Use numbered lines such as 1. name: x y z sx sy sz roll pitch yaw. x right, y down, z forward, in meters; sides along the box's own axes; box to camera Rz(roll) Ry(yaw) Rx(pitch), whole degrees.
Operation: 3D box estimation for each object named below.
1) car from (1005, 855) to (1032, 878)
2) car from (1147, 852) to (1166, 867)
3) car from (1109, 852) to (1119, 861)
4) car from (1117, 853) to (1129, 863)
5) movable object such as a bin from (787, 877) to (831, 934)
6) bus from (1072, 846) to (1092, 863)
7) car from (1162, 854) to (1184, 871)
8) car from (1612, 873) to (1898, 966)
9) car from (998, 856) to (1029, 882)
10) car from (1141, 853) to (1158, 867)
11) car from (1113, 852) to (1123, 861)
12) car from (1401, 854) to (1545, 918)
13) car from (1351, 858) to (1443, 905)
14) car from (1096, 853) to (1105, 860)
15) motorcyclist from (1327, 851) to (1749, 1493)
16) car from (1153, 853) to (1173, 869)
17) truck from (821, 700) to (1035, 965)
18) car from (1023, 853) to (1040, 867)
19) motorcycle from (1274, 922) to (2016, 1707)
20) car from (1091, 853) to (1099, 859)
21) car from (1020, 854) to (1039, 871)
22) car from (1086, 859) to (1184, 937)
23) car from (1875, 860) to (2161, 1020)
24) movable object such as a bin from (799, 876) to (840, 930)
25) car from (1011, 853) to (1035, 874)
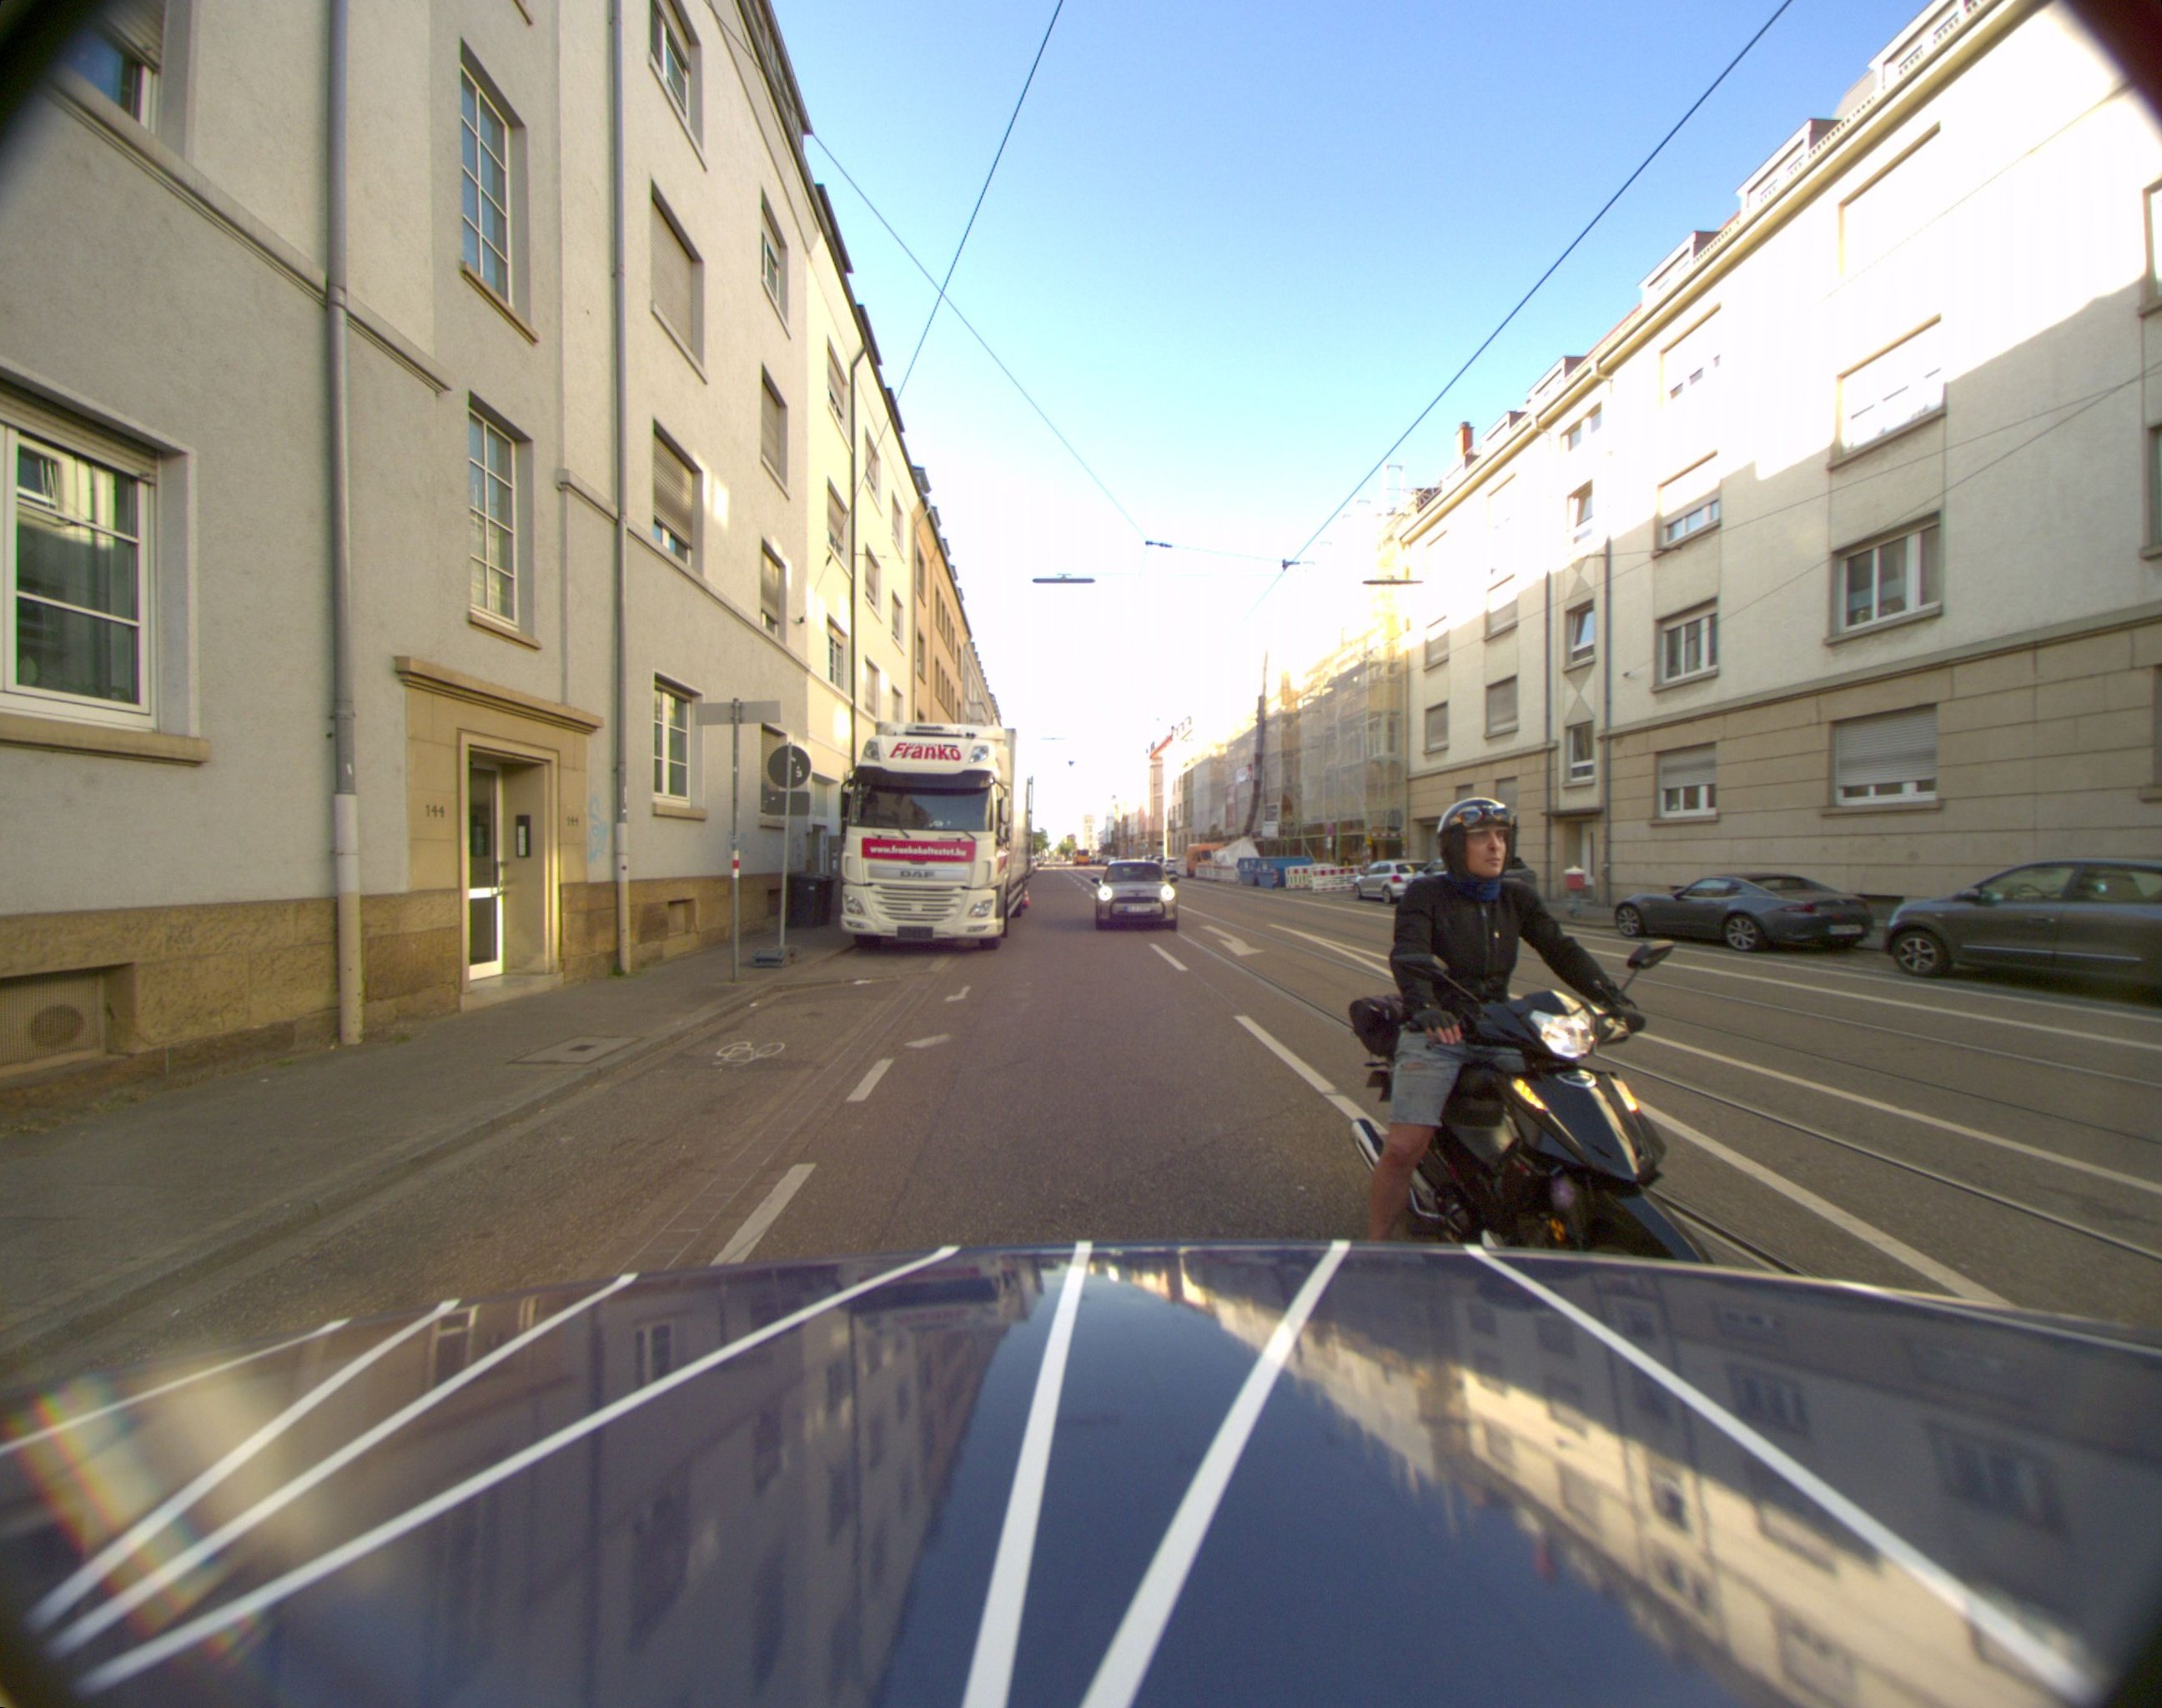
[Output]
1. car: -4.301 0.828 52.989 1.685 1.522 4.148 -2 0 -3
2. car: 8.247 0.615 83.182 1.684 1.573 3.966 -2 0 1
3. car: 5.962 0.441 139.343 1.684 1.478 3.966 -2 0 1
4. car: 6.602 0.621 118.634 1.684 1.478 3.966 -2 0 1
5. movable object such as a bin: -5.382 1.006 15.039 0.666 1.087 0.570 0 1 -2
6. bus: 0.137 0.127 150.804 2.755 3.095 19.156 0 0 -3
7. car: 8.574 0.759 71.111 1.684 1.478 3.966 -2 0 1
8. car: 11.180 1.000 12.980 1.520 1.227 3.685 -1 0 -3
9. car: -4.174 0.895 47.187 1.685 1.522 4.148 -2 0 -3
10. car: 7.936 0.652 87.879 1.684 1.478 3.966 -2 0 1
11. car: 6.535 0.463 134.400 1.684 1.478 3.966 -2 0 1
12. car: 10.812 0.805 21.330 1.696 1.590 4.206 -1 0 -3
13. car: 10.611 0.880 25.778 1.543 1.404 3.510 -1 0 -3
14. car: 4.263 0.614 167.811 1.684 1.478 3.965 -2 0 -1
15. motorcyclist: 1.309 0.816 2.390 0.791 1.645 0.900 0 1 1
16. car: 8.269 0.704 76.809 1.684 1.478 3.966 -2 0 1
17. truck: -2.625 -0.321 17.180 2.782 3.903 11.816 0 0 -2
18. car: -5.348 0.647 82.743 1.685 1.522 4.148 -2 0 -3
19. motorcycle: 1.309 0.973 2.519 0.791 1.284 2.273 0 0 1
20. car: 3.541 0.605 191.745 1.684 1.478 3.965 -2 0 -1
21. car: -4.854 0.747 72.097 1.685 1.522 4.148 -2 0 -3
22. car: 1.070 0.874 16.943 1.685 1.454 4.148 -2 0 -3
23. car: 11.417 0.859 8.318 1.679 1.519 3.539 -1 0 -3
24. movable object such as a bin: -5.399 0.998 15.708 0.666 1.087 0.570 0 1 -2
25. car: -4.509 0.745 59.157 1.685 1.522 4.148 -2 0 -3
